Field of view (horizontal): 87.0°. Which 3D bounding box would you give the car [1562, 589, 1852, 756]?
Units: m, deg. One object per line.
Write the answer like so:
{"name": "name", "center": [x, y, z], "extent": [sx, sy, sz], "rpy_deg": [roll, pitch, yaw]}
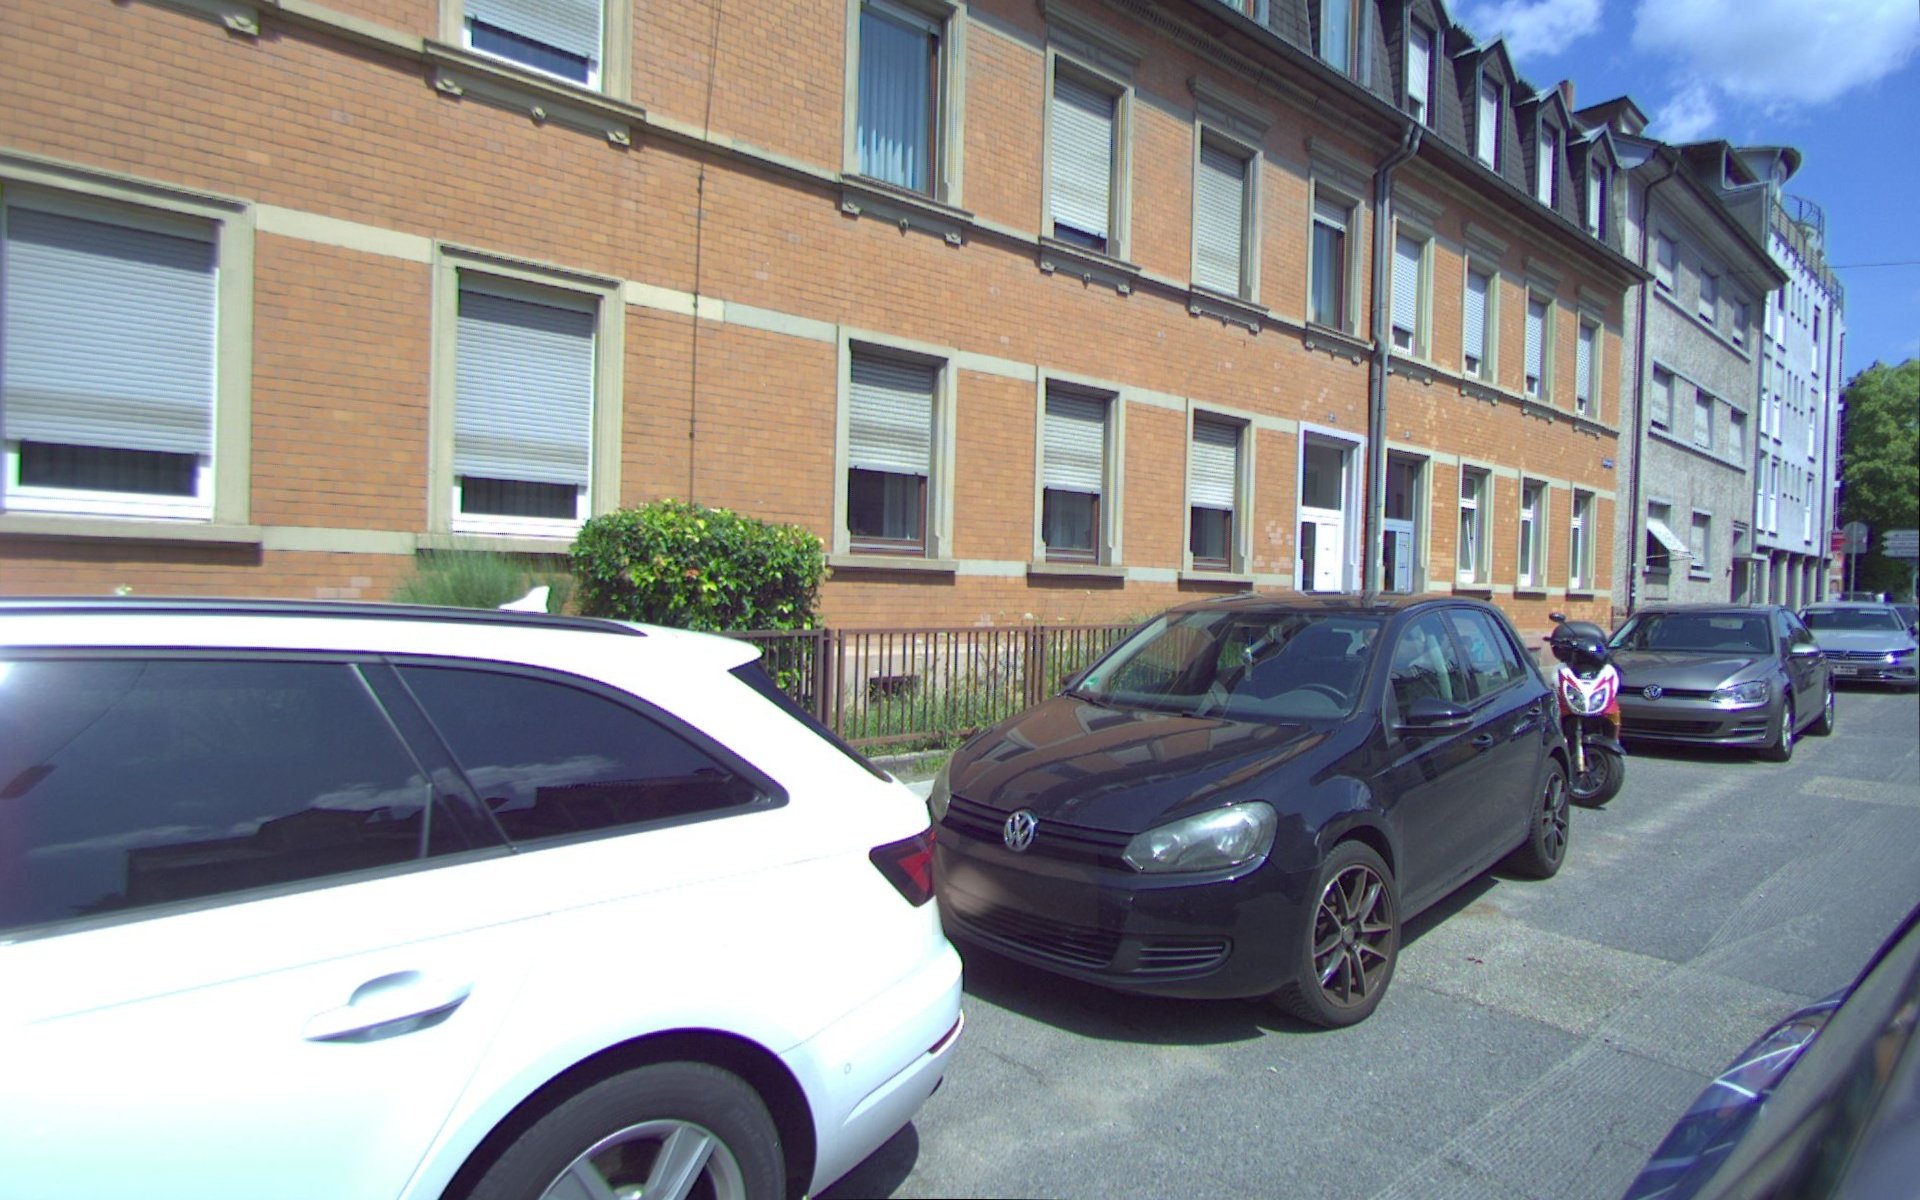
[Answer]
{"name": "car", "center": [7.945, 0.600, 10.620], "extent": [4.096, 1.398, 1.703], "rpy_deg": [-1, 1, -43]}

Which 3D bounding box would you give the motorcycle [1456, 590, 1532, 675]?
{"name": "motorcycle", "center": [8.242, 0.472, 15.605], "extent": [1.337, 1.240, 0.597], "rpy_deg": [-1, 1, -41]}

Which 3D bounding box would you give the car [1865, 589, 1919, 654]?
{"name": "car", "center": [23.732, 0.489, 24.884], "extent": [4.361, 1.491, 1.714], "rpy_deg": [0, 1, -42]}

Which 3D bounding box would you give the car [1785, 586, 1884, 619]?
{"name": "car", "center": [48.164, 0.108, 55.781], "extent": [1.983, 1.773, 3.991], "rpy_deg": [-1, 1, -43]}

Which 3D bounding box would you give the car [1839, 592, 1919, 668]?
{"name": "car", "center": [19.475, 0.559, 20.944], "extent": [3.982, 1.438, 1.652], "rpy_deg": [0, 1, -45]}

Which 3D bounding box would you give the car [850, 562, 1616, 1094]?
{"name": "car", "center": [1.702, 0.582, 4.899], "extent": [1.648, 1.432, 4.430], "rpy_deg": [0, 1, 44]}

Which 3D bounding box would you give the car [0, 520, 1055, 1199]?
{"name": "car", "center": [-2.064, 0.605, 1.533], "extent": [4.507, 1.432, 1.720], "rpy_deg": [-1, 2, -40]}

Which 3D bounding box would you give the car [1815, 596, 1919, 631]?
{"name": "car", "center": [38.260, 0.549, 41.601], "extent": [1.967, 1.382, 4.584], "rpy_deg": [0, 0, -44]}

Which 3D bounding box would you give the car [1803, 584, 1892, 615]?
{"name": "car", "center": [50.244, -0.053, 57.331], "extent": [3.763, 1.688, 1.638], "rpy_deg": [2, 1, 44]}

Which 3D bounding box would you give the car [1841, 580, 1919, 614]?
{"name": "car", "center": [65.753, -0.178, 71.817], "extent": [2.070, 2.305, 4.608], "rpy_deg": [0, -1, -42]}

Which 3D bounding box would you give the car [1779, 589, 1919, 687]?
{"name": "car", "center": [15.683, 0.559, 17.716], "extent": [1.852, 1.481, 4.481], "rpy_deg": [0, 1, 42]}

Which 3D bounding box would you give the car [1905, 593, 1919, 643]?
{"name": "car", "center": [30.111, 0.503, 30.861], "extent": [4.075, 1.473, 1.678], "rpy_deg": [0, -1, -44]}

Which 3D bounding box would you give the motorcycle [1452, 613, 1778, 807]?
{"name": "motorcycle", "center": [4.771, 0.730, 7.621], "extent": [1.091, 1.241, 1.996], "rpy_deg": [-1, 0, -1]}
